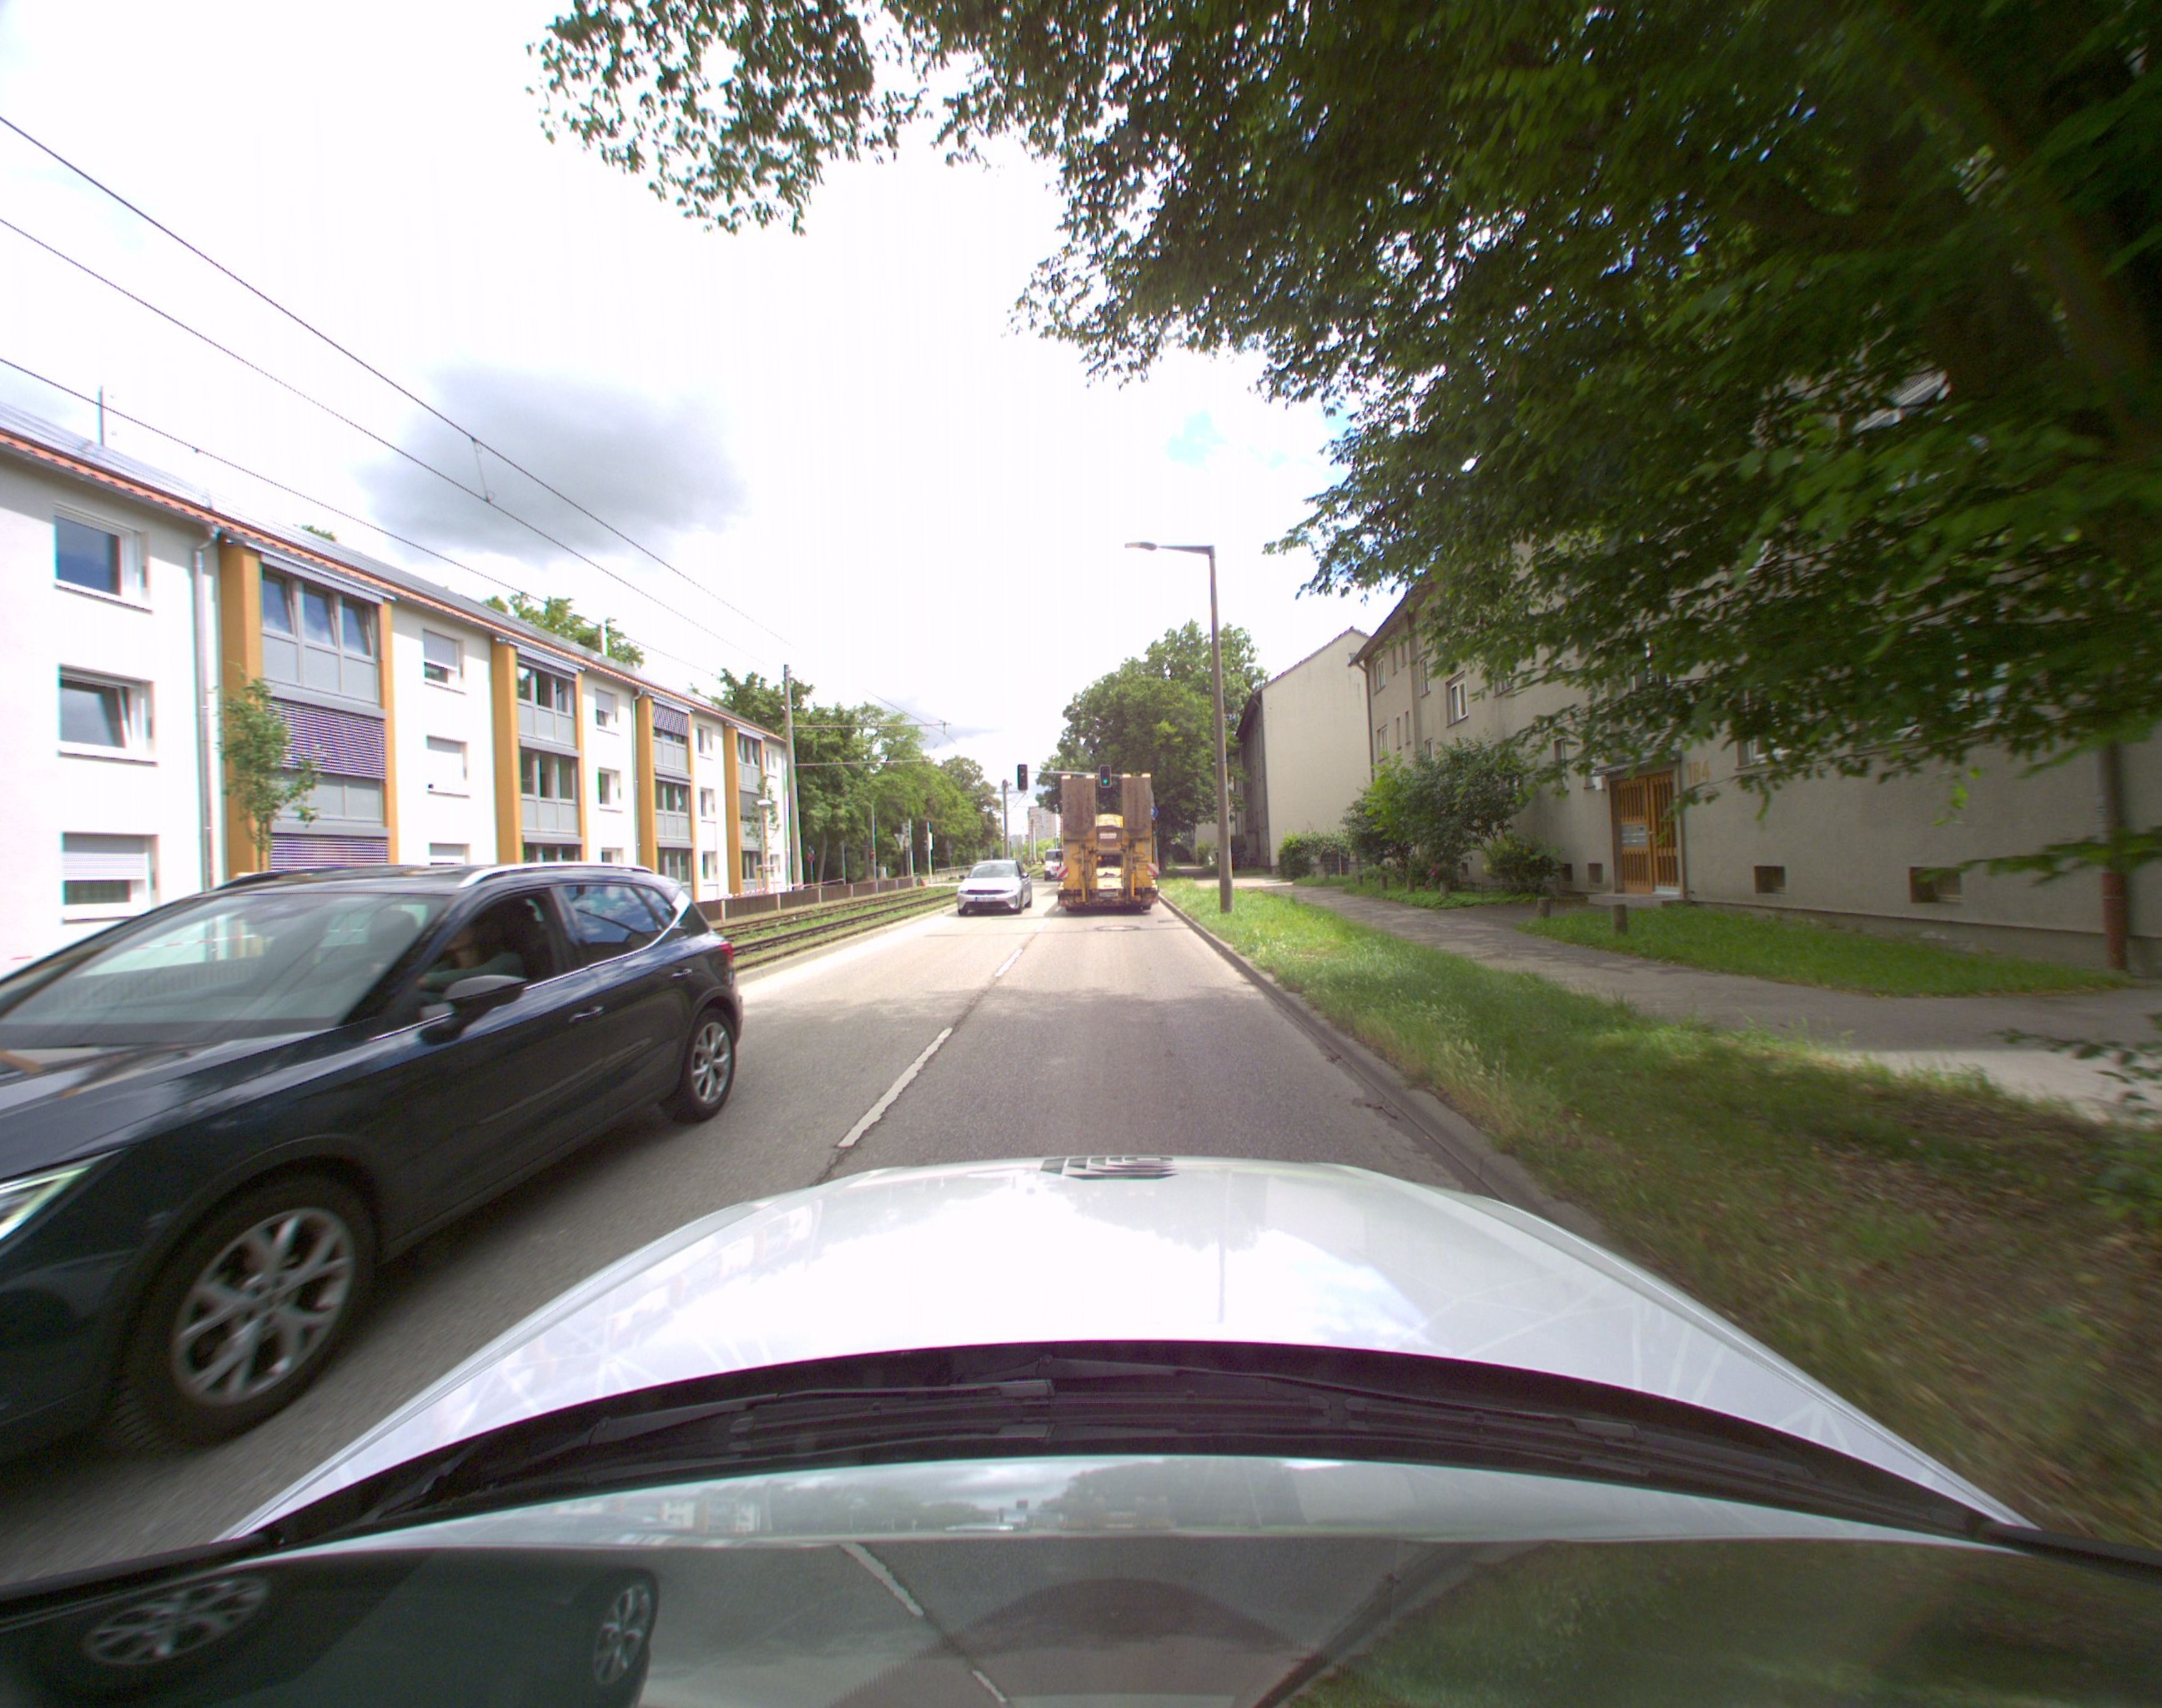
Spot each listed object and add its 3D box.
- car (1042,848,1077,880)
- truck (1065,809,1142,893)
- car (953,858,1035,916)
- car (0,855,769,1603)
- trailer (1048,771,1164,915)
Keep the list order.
[{"bbox_3d":[-1.351,0.600,52.633,1.935,1.940,4.319,-2,0,2],"label":"car"},{"bbox_3d":[0.955,-0.105,35.059,2.907,3.167,7.682,-1,0,1],"label":"truck"},{"bbox_3d":[-2.341,0.858,22.846,1.723,1.417,3.986,-1,0,2],"label":"car"},{"bbox_3d":[-2.996,0.791,3.562,1.644,1.520,3.867,-1,0,2],"label":"car"},{"bbox_3d":[0.709,-0.270,25.710,2.813,3.524,11.053,-1,0,1],"label":"trailer"}]
